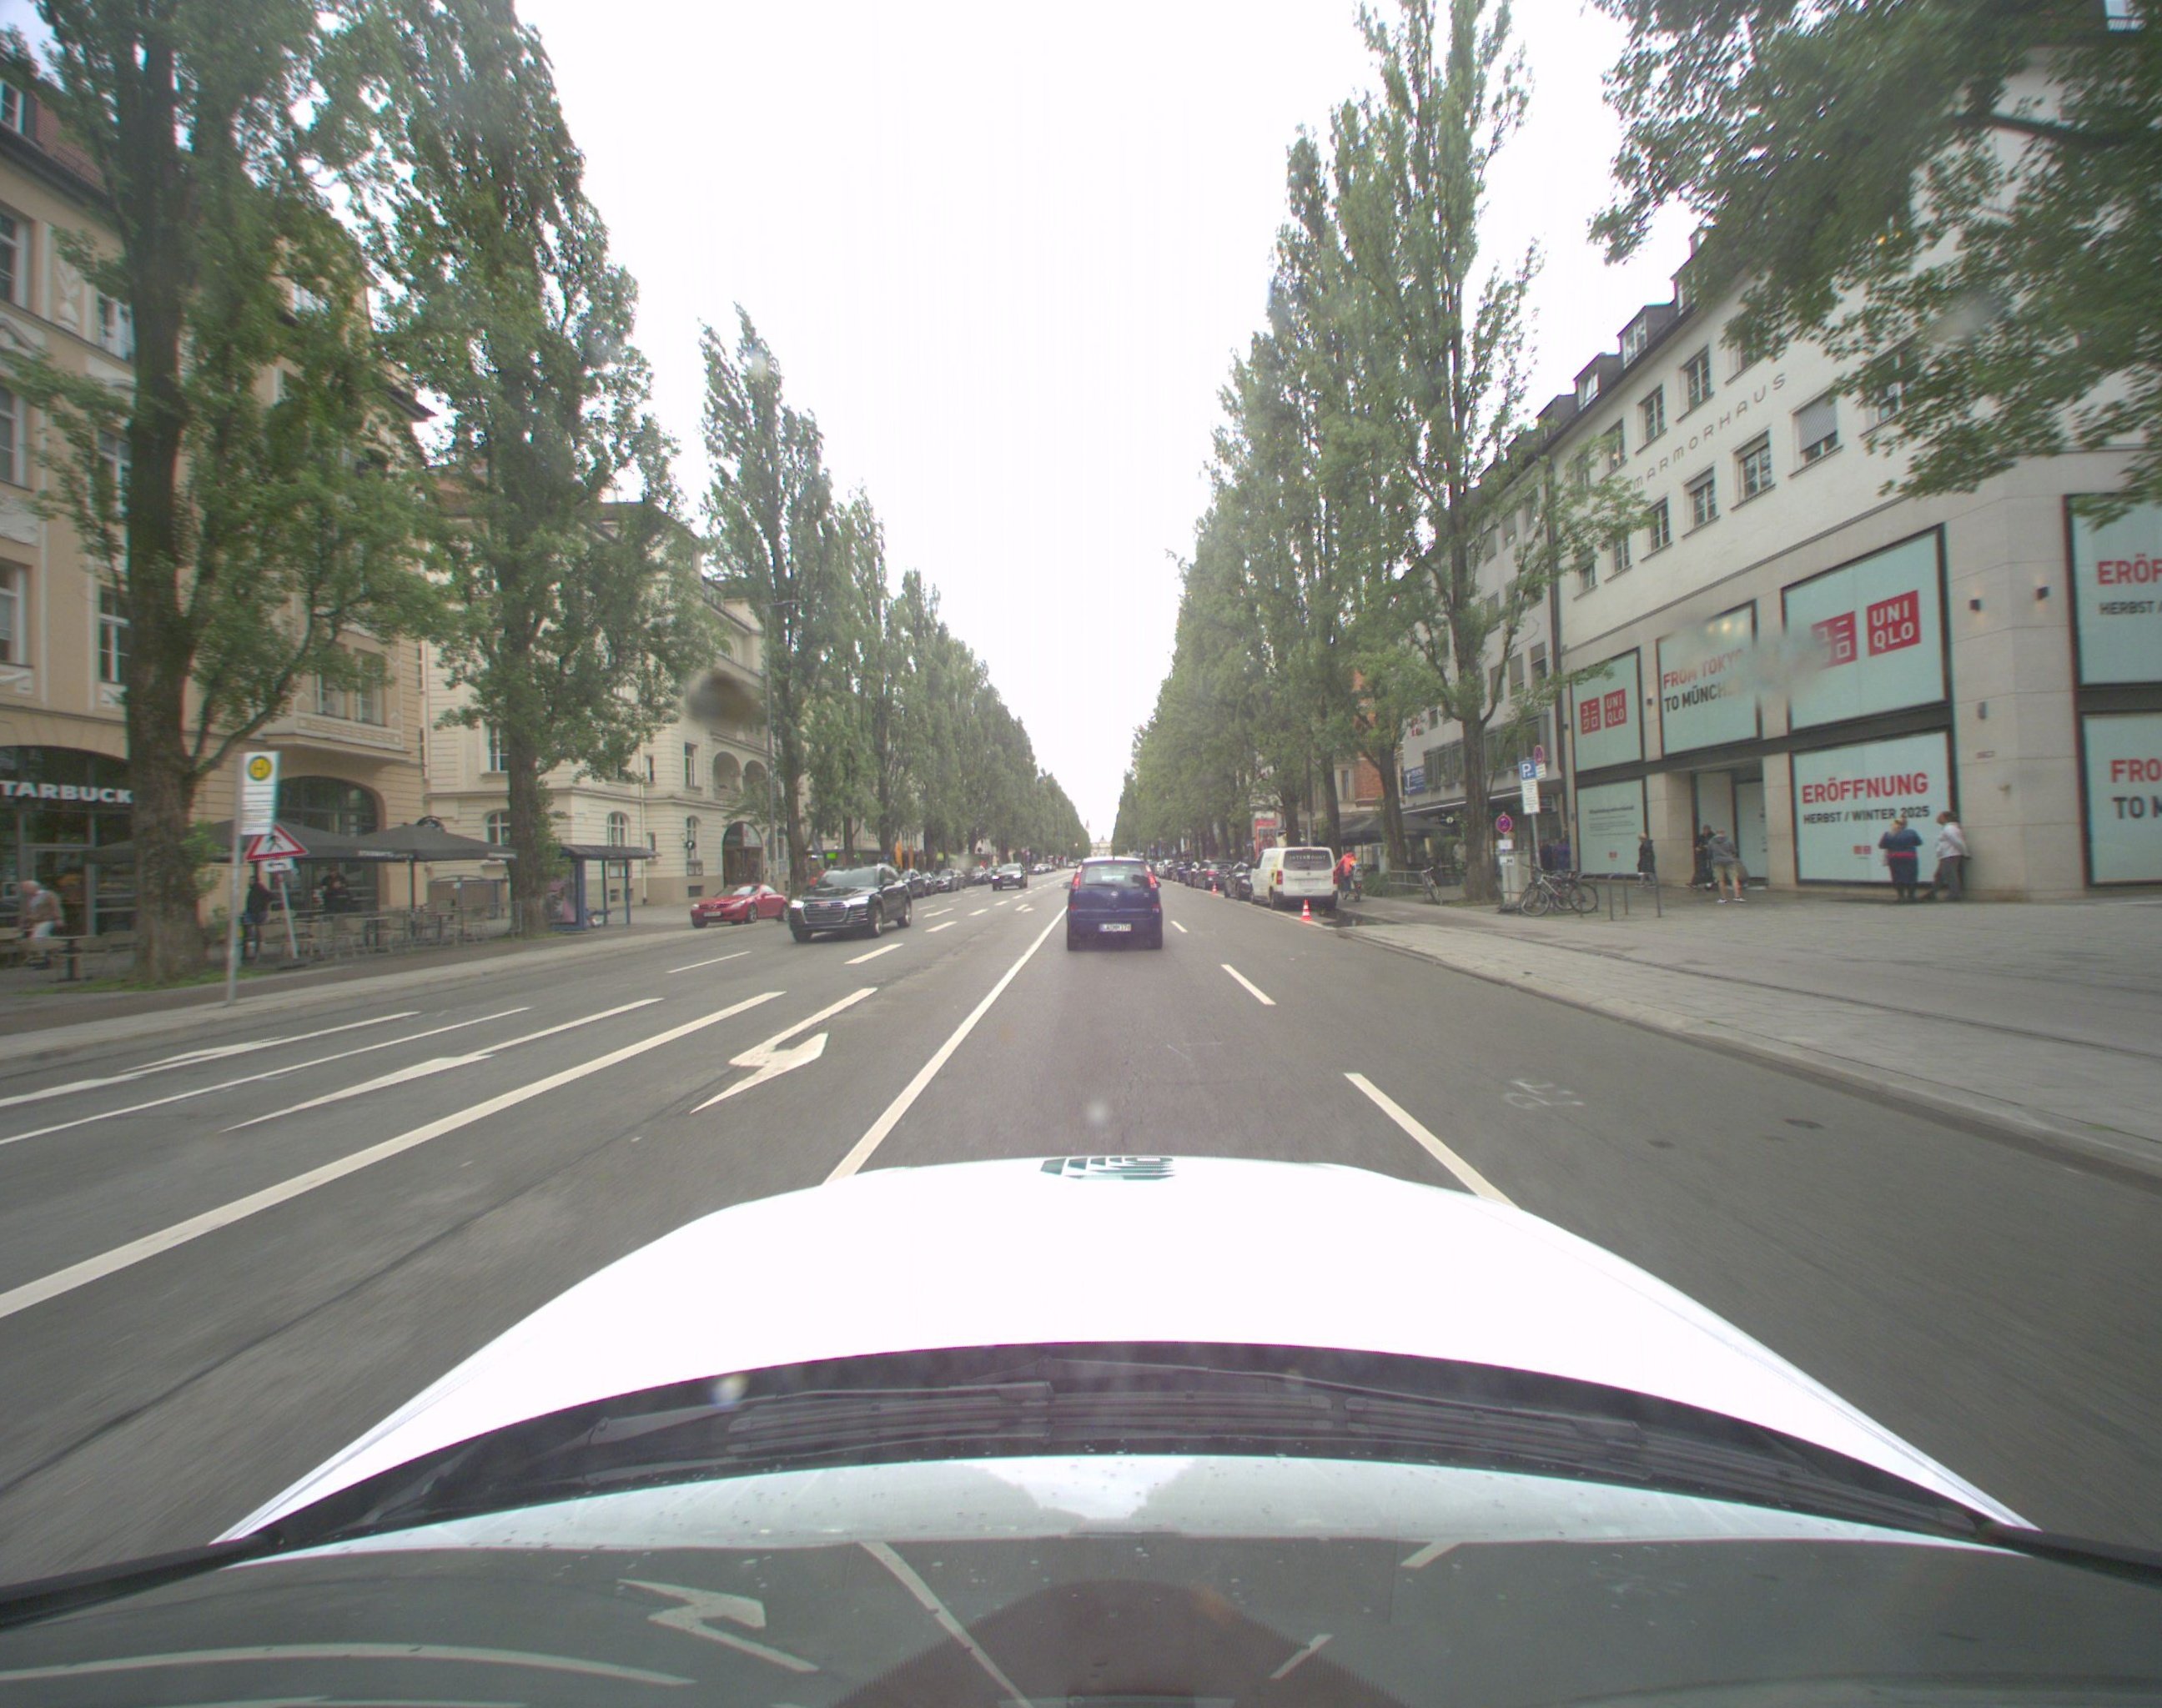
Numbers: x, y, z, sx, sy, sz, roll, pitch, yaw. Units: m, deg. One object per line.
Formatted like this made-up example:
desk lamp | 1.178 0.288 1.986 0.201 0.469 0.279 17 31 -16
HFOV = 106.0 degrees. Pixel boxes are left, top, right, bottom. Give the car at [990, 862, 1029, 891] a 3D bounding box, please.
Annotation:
car | -4.482 1.385 51.557 1.928 1.623 4.337 -4 -1 1

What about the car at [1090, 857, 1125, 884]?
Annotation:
car | 1.555 0.970 48.666 1.987 1.497 4.000 -2 -1 1

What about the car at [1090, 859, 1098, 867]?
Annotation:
car | 3.106 2.131 191.086 1.828 1.761 3.779 -2 -1 1

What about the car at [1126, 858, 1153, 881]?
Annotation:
car | 4.276 1.155 60.104 1.700 1.574 4.000 -2 -1 0

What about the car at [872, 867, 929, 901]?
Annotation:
car | -9.547 1.576 43.499 1.796 1.594 4.632 -3 -1 2

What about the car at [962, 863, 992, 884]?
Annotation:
car | -9.011 1.688 70.761 1.859 1.654 4.615 -4 -1 0

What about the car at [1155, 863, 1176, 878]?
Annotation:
car | 8.304 1.582 80.093 1.664 1.406 4.127 0 -1 1

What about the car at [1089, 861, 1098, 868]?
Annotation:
car | 2.875 2.395 184.824 1.955 1.399 3.779 -2 -1 1

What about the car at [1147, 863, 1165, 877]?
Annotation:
car | 8.108 1.712 87.835 1.676 1.415 3.583 0 -1 1

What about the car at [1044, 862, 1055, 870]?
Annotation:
car | -6.426 2.422 164.783 1.987 1.662 4.000 -2 -1 1

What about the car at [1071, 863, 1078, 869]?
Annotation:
car | -2.073 3.659 245.200 1.955 1.549 3.779 -2 -1 1

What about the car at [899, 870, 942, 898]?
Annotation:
car | -9.510 1.750 48.539 1.680 1.424 4.684 -4 -1 -2

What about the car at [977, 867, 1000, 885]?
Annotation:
car | -8.755 2.064 77.475 1.692 1.550 4.082 -2 -1 0

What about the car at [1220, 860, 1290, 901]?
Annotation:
car | 6.514 0.959 30.969 1.714 1.442 4.352 0 -1 0

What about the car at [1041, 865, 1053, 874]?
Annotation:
car | -6.207 2.747 148.729 1.955 1.530 3.999 -2 -1 0

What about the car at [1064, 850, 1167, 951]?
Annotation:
car | 0.599 0.786 15.562 1.675 1.641 4.000 -1 -1 1

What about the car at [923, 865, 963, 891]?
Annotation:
car | -9.099 1.583 54.026 1.775 1.575 4.133 -2 -1 1

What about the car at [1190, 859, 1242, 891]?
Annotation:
car | 6.933 1.044 42.164 1.812 1.506 4.229 -2 -1 -2

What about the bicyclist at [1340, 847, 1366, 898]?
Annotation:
bicyclist | 8.758 0.591 26.251 0.619 1.588 0.481 -2 -1 0

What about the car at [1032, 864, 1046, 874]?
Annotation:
car | -6.457 2.274 125.406 1.824 1.420 3.812 -1 -1 1

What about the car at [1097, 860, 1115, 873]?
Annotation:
car | 2.875 1.475 95.848 1.987 1.497 4.000 -2 -1 1

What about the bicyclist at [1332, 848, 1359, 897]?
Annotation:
bicyclist | 8.767 0.604 27.021 0.619 1.588 0.753 -2 -1 1

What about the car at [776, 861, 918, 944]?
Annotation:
car | -5.366 1.035 19.385 1.906 1.681 4.587 -2 -1 1

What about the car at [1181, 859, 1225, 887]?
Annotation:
car | 7.016 1.079 47.275 1.872 1.432 4.804 -2 -1 0

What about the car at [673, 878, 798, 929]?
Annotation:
car | -10.580 1.472 25.299 1.871 1.298 4.098 -2 -1 4

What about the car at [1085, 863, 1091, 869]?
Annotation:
car | 2.023 3.553 236.642 1.828 1.677 3.779 -2 -1 1

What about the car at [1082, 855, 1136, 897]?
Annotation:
car | 1.068 0.835 32.465 1.987 1.497 4.000 -2 -1 1

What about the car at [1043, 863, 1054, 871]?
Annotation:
car | -6.283 2.525 158.100 1.955 1.549 3.779 -2 -1 1

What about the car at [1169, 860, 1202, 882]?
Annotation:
car | 7.323 1.165 57.474 1.744 1.405 4.464 -2 0 0

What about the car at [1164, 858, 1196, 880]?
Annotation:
car | 7.780 1.169 64.240 1.987 1.565 4.484 -2 -1 1

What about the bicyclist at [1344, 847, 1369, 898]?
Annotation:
bicyclist | 8.746 0.585 25.880 0.619 1.588 0.391 -2 -1 0
